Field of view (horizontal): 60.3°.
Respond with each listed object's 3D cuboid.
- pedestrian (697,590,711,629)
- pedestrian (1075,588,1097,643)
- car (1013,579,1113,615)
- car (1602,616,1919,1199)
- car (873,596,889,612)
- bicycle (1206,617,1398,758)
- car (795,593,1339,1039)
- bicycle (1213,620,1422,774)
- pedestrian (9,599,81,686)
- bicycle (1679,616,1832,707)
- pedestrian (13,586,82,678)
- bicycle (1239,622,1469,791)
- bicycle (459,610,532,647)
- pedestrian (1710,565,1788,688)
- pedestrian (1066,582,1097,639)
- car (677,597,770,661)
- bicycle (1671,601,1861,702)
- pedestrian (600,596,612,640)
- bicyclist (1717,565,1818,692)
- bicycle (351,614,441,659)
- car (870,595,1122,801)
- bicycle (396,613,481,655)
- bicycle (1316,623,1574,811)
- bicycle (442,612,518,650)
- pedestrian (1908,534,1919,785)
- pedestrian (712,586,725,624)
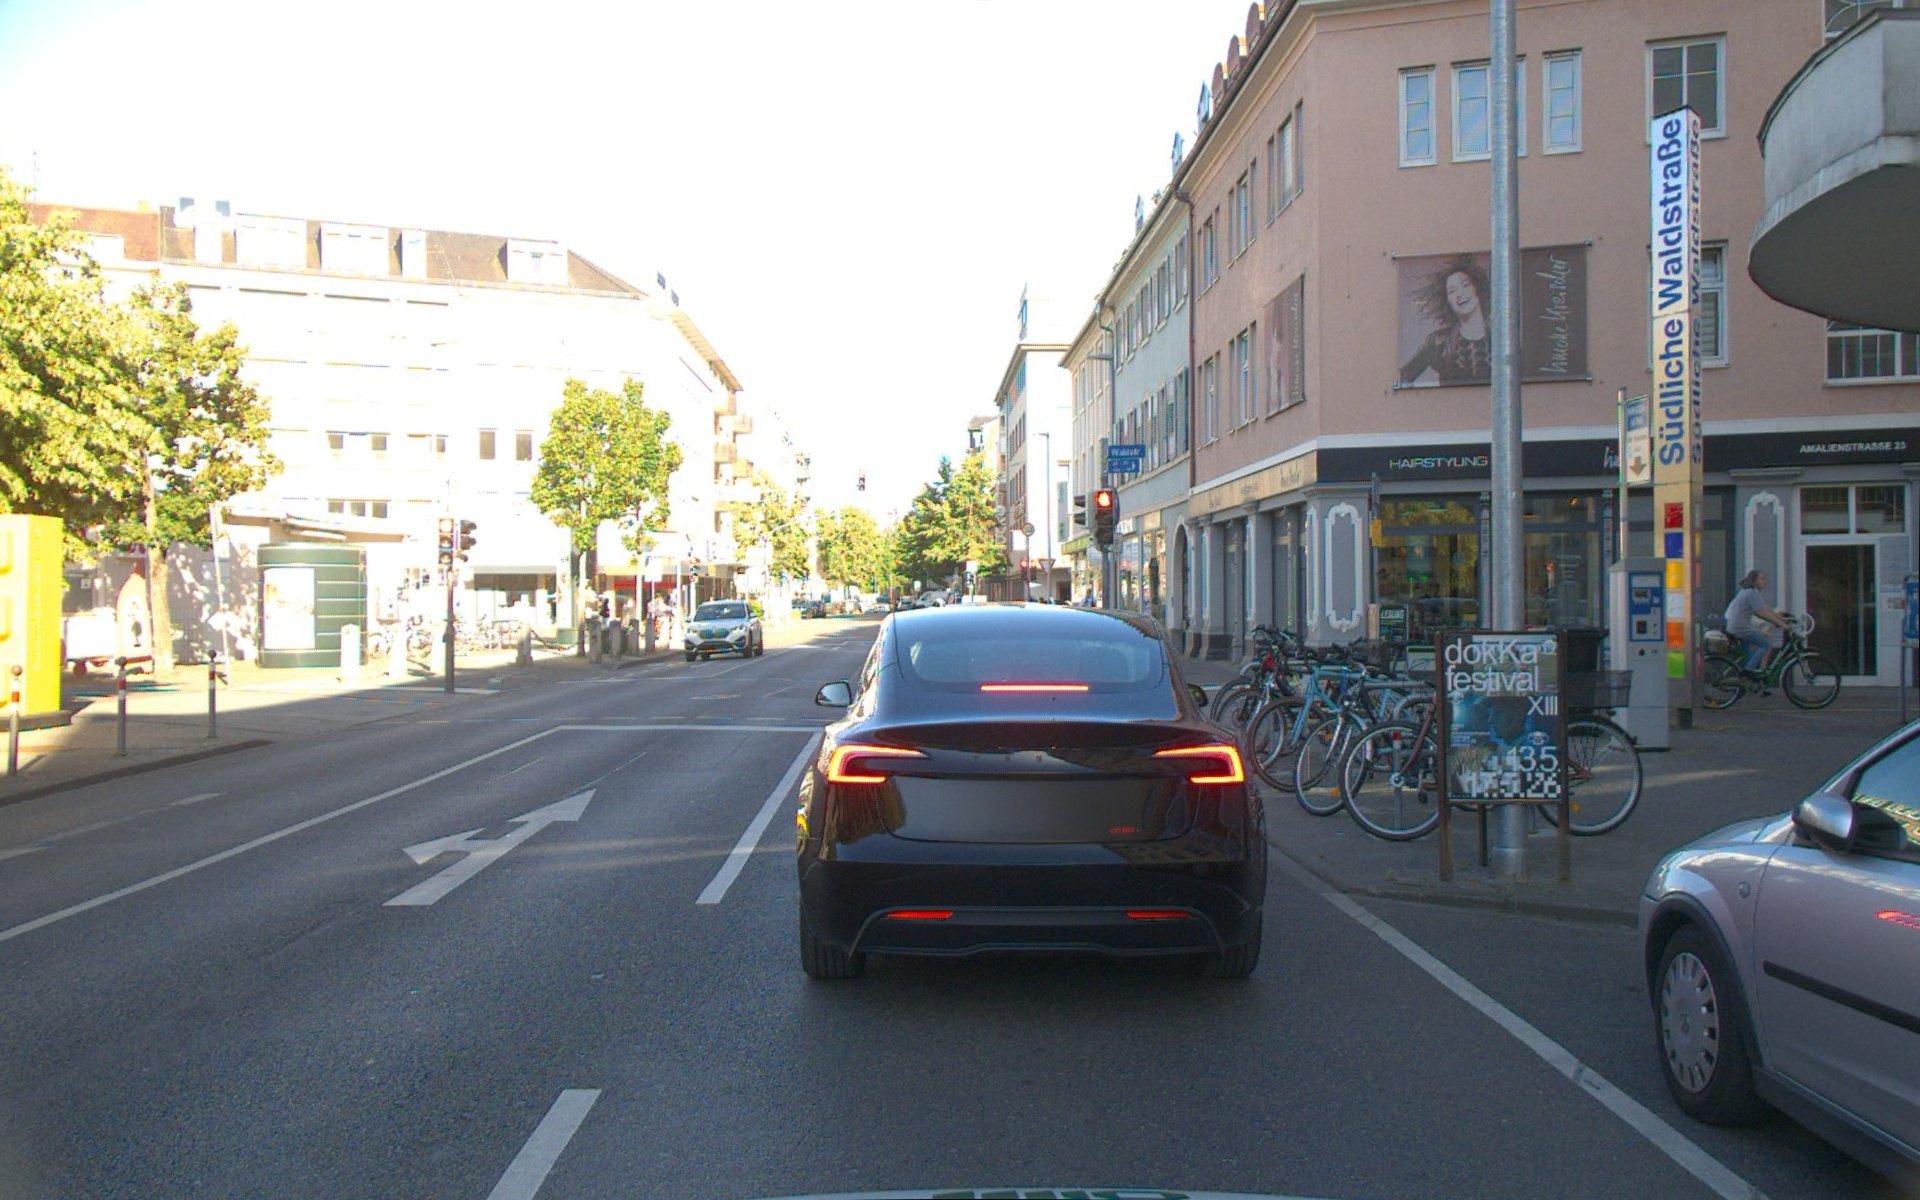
[{"bbox_3d":[-13.645,0.502,88.115,0.613,2.049,0.707,0,0,-1],"label":"pedestrian"},{"bbox_3d":[4.209,0.512,55.228,0.689,1.814,0.533,0,0,-1],"label":"pedestrian"},{"bbox_3d":[5.039,-0.153,81.011,4.540,1.757,2.058,0,0,16],"label":"car"},{"bbox_3d":[2.912,0.767,3.518,1.588,1.419,3.886,0,0,0],"label":"car"},{"bbox_3d":[-8.672,0.421,181.542,1.793,1.754,3.998,0,0,-2],"label":"car"},{"bbox_3d":[3.045,0.773,14.793,1.594,1.180,0.433,-2,0,0],"label":"bicycle"},{"bbox_3d":[0.358,0.716,7.401,1.812,1.480,3.786,0,0,0],"label":"car"},{"bbox_3d":[2.927,0.786,13.595,1.595,1.180,0.432,-2,0,-2],"label":"bicycle"},{"bbox_3d":[-17.736,0.807,32.085,0.966,1.665,0.737,0,0,3],"label":"pedestrian"},{"bbox_3d":[9.701,0.735,20.211,1.581,1.063,0.591,1,0,12],"label":"bicycle"},{"bbox_3d":[-17.625,0.615,31.959,0.882,1.755,0.744,0,0,3],"label":"pedestrian"},{"bbox_3d":[2.951,0.787,12.435,1.595,1.180,0.432,-2,0,-2],"label":"bicycle"},{"bbox_3d":[-14.580,0.896,51.933,2.040,1.123,0.806,0,0,-1],"label":"bicycle"},{"bbox_3d":[9.639,0.317,20.220,0.727,1.466,0.583,1,-1,12],"label":"pedestrian"},{"bbox_3d":[4.058,0.339,55.242,0.979,1.883,0.615,0,0,-1],"label":"pedestrian"},{"bbox_3d":[-6.466,0.753,45.601,1.953,1.567,3.999,-3,0,-1],"label":"car"},{"bbox_3d":[10.424,0.670,21.463,2.080,1.221,0.629,-3,-1,15],"label":"bicycle"},{"bbox_3d":[-13.310,0.667,62.199,0.378,1.619,0.705,0,0,-5],"label":"pedestrian"},{"bbox_3d":[10.450,0.363,21.442,1.074,1.617,0.629,0,0,15],"label":"bicyclist"},{"bbox_3d":[-14.462,0.930,42.446,2.040,1.123,0.806,0,0,-1],"label":"bicycle"},{"bbox_3d":[0.262,0.706,13.816,1.812,1.480,3.786,0,0,0],"label":"car"},{"bbox_3d":[-14.168,0.918,44.971,2.040,1.123,0.806,0,0,-1],"label":"bicycle"},{"bbox_3d":[3.266,0.775,11.187,1.595,1.180,0.432,-2,0,-2],"label":"bicycle"},{"bbox_3d":[-14.437,0.936,49.741,2.040,1.123,0.806,0,0,-1],"label":"bicycle"},{"bbox_3d":[6.261,0.407,9.991,0.648,1.661,0.628,-2,-1,3],"label":"pedestrian"},{"bbox_3d":[-12.874,0.257,88.021,0.613,2.049,0.575,0,0,-1],"label":"pedestrian"}]
